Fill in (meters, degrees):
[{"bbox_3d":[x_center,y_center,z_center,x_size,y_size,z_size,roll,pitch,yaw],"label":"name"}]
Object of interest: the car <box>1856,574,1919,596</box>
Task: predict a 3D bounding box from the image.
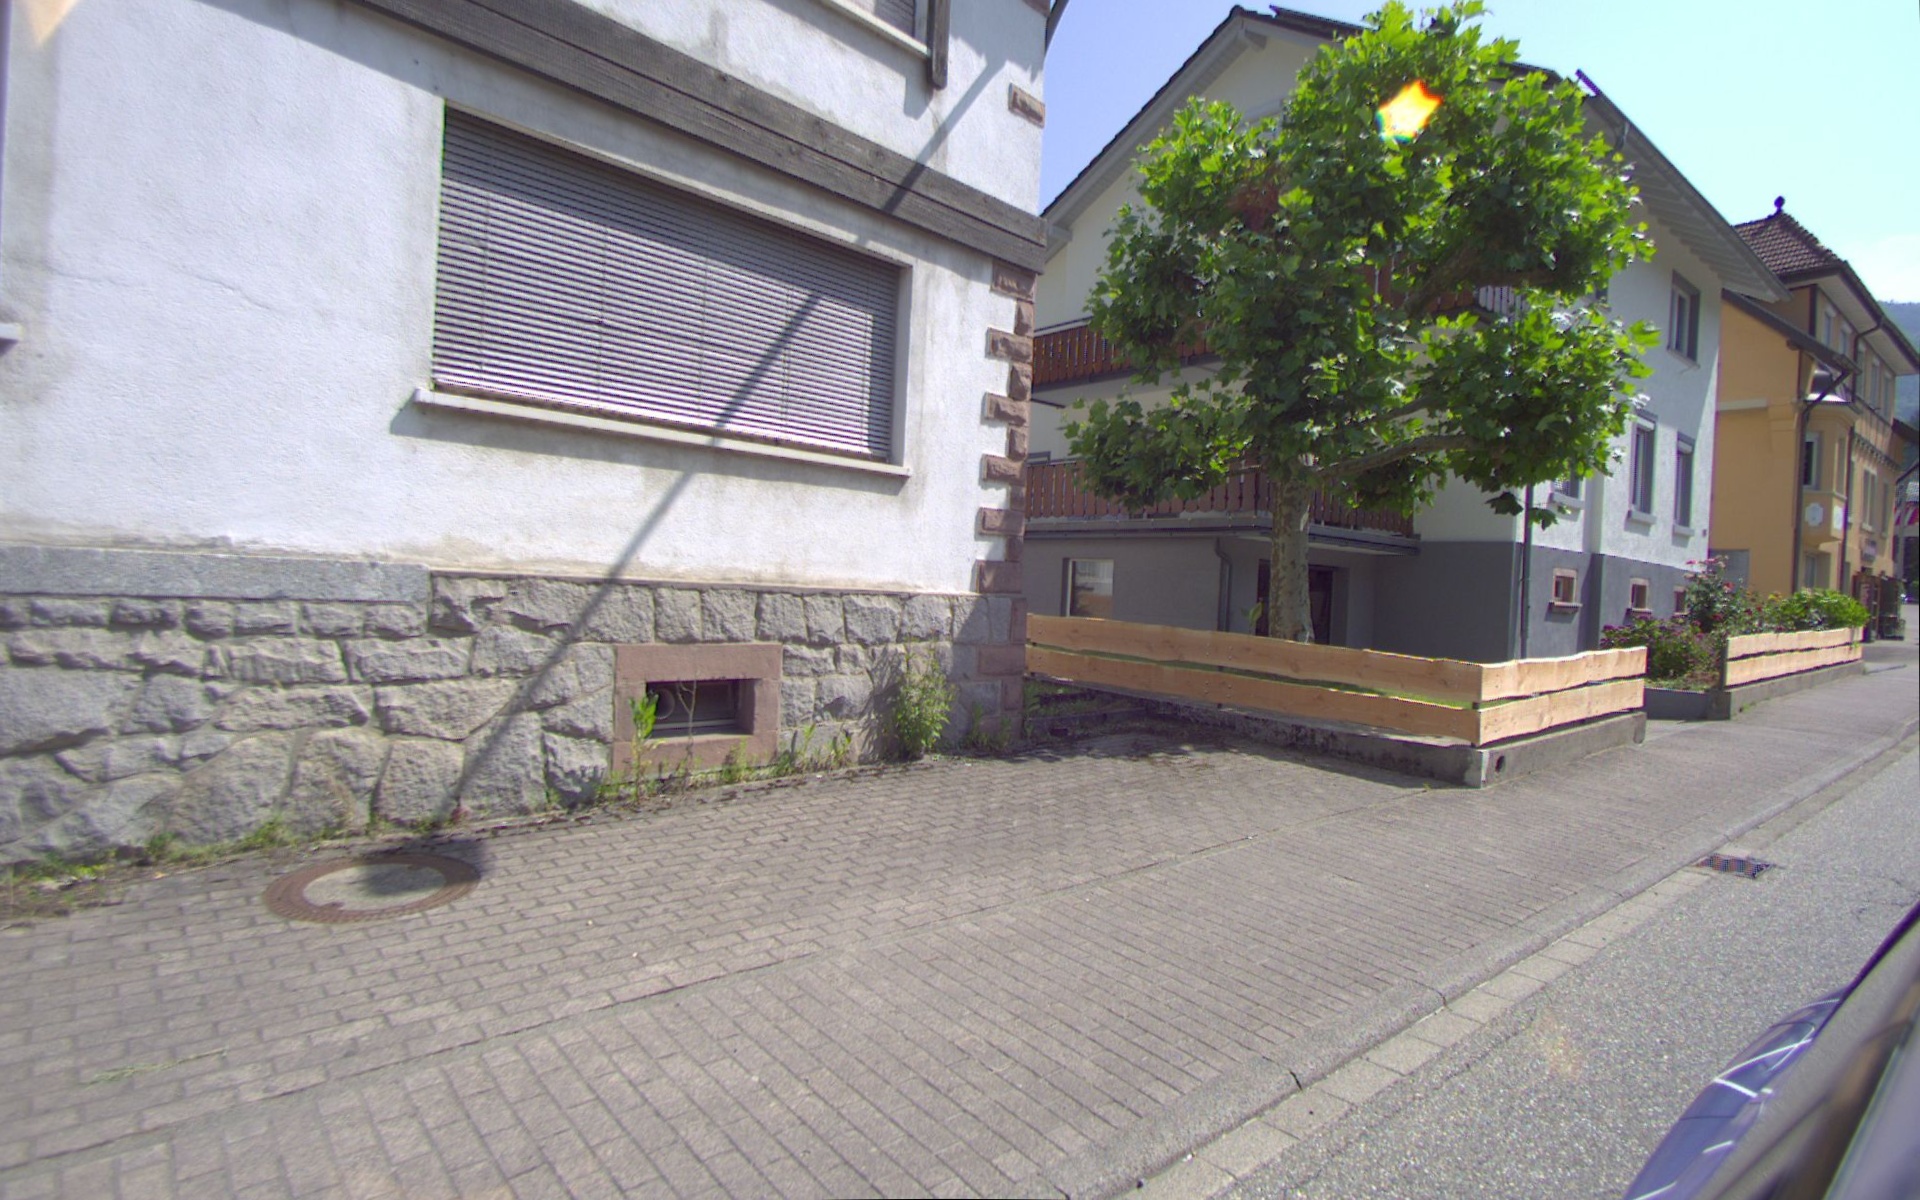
[{"bbox_3d":[60.158,-0.986,65.427,1.312,1.157,3.082,-1,7,-40],"label":"car"}]
